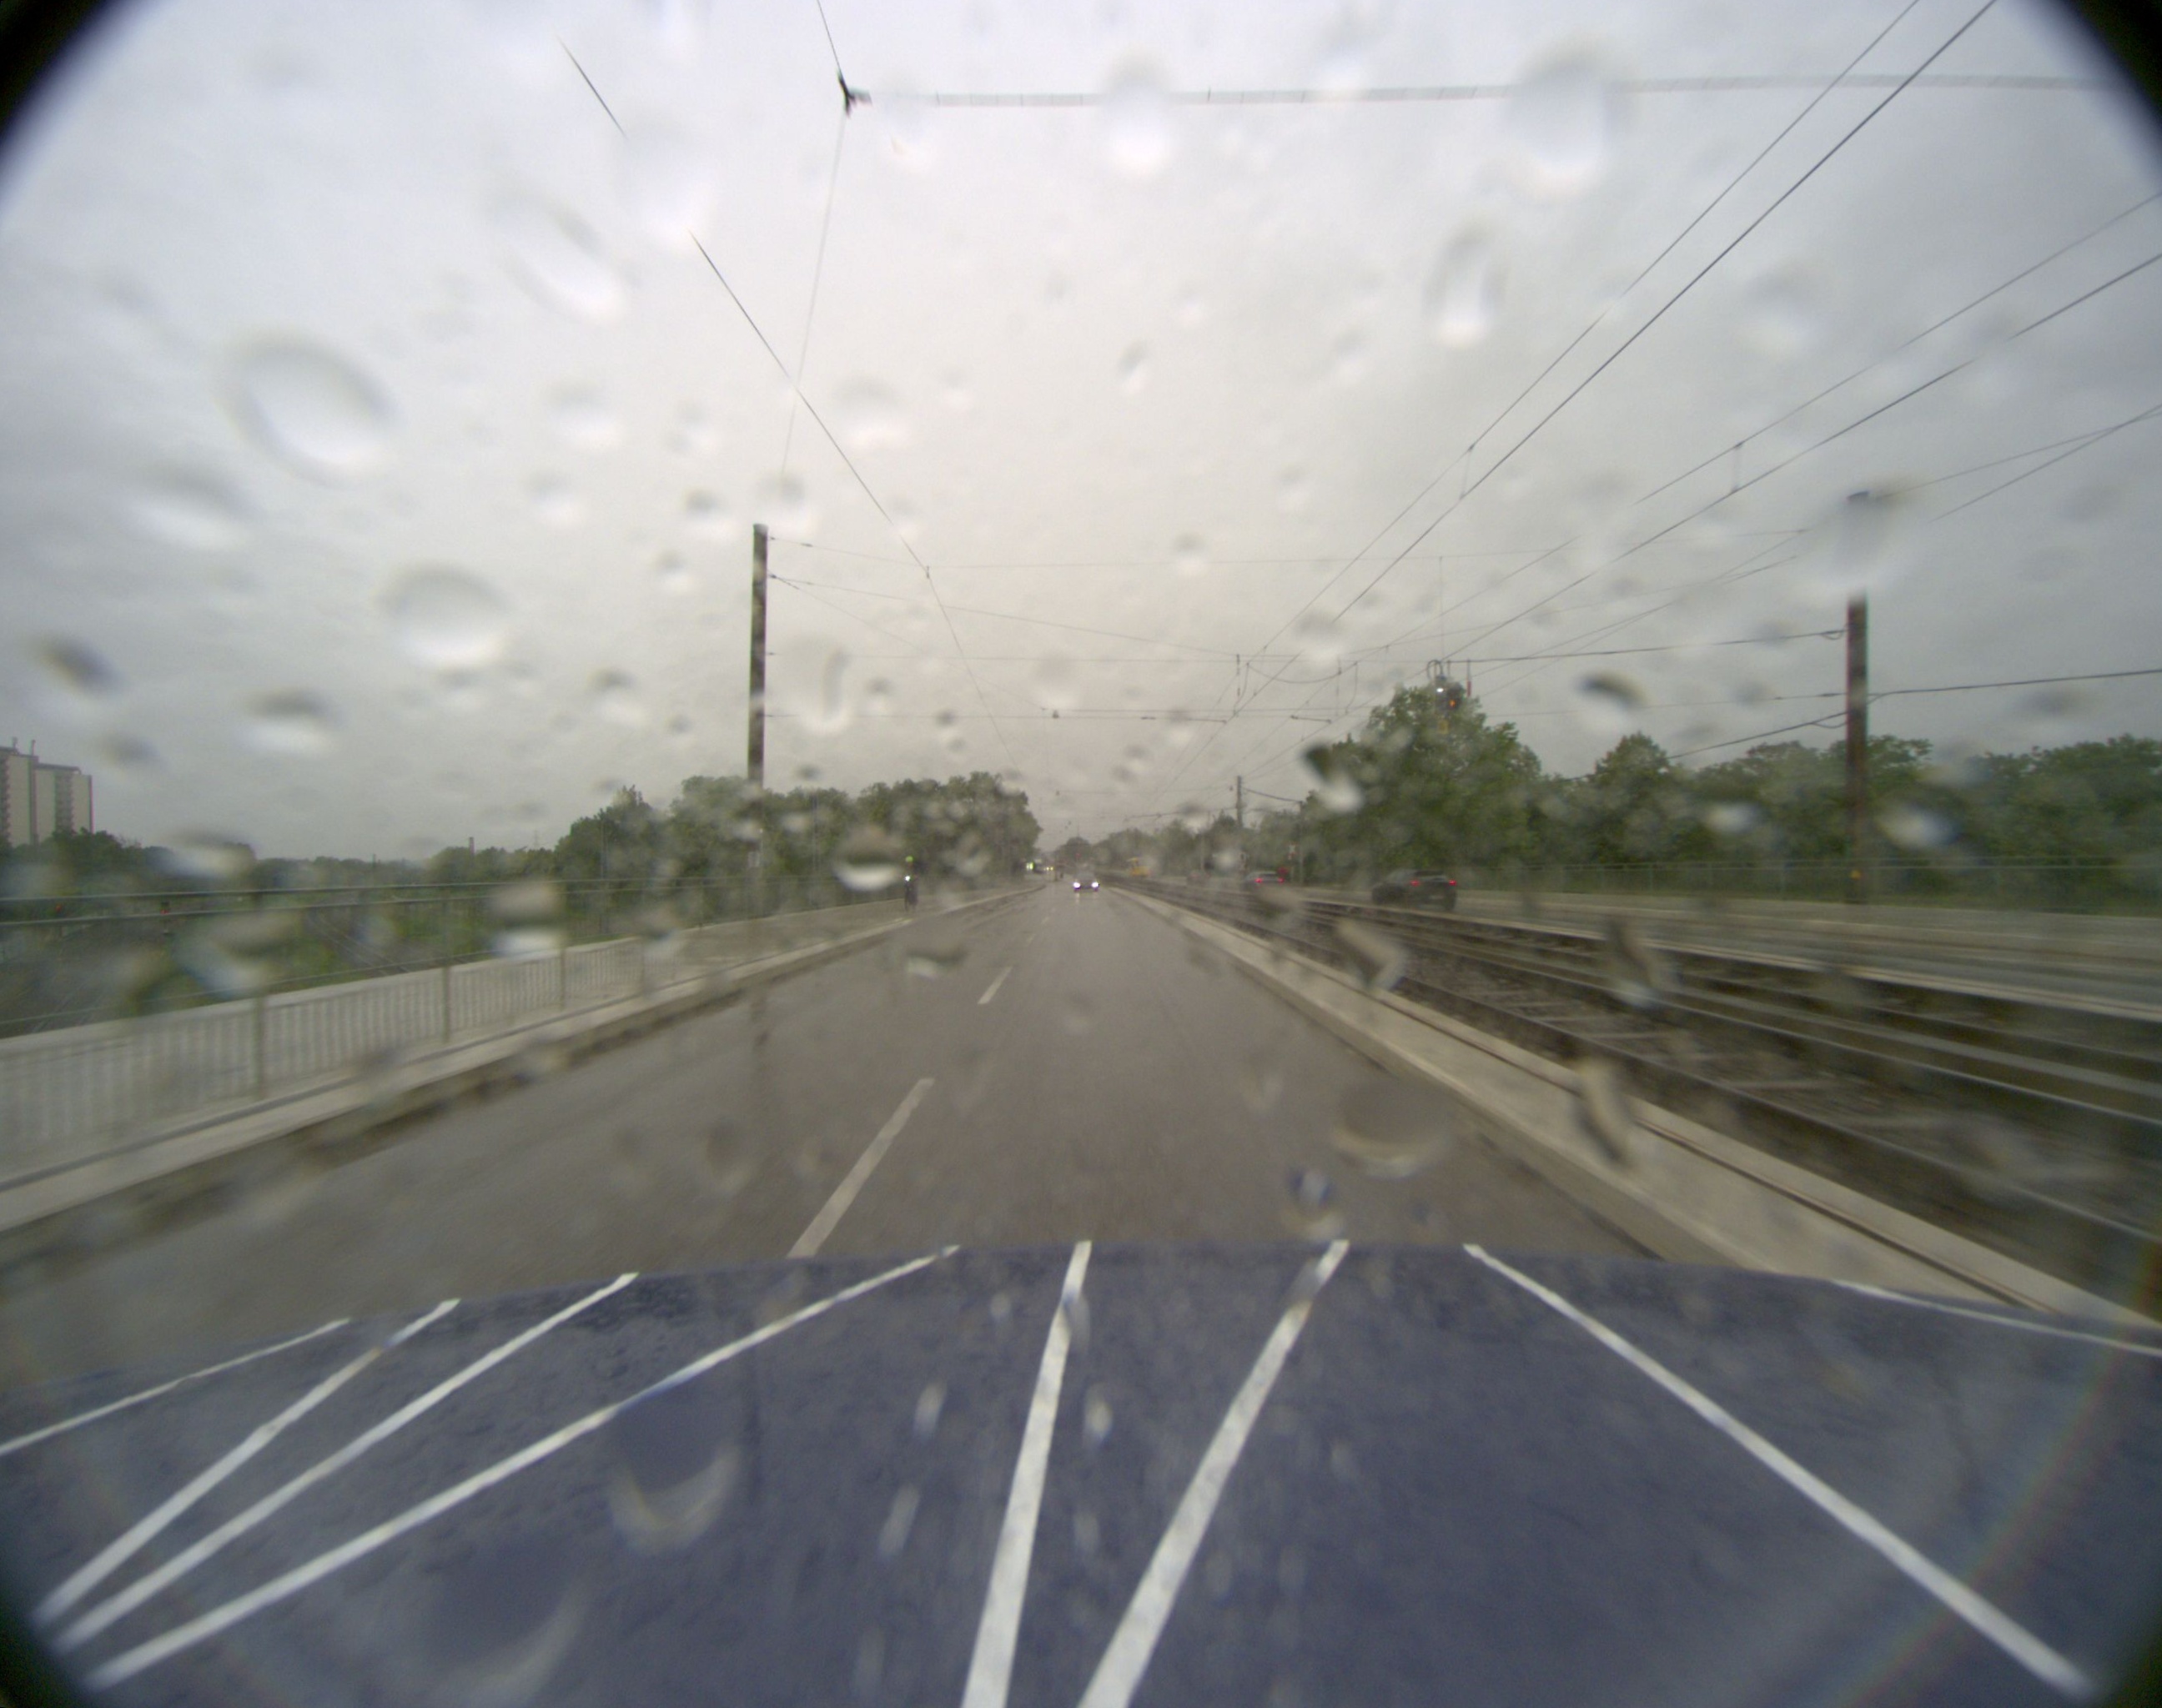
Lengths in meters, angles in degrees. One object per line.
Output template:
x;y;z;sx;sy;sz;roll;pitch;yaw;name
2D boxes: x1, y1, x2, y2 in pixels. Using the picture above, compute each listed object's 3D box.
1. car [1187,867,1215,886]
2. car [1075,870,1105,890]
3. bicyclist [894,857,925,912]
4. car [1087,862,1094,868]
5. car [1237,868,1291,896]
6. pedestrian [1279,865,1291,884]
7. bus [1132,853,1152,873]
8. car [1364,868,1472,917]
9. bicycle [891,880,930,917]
12.029;2.209;76.325;1.998;1.707;4.941;1;0;0;car
0.695;2.068;61.385;1.999;1.497;4.195;-2;-1;-4;car
-5.700;1.010;25.348;0.727;1.753;0.949;-2;1;0;bicyclist
3.291;3.805;259.751;1.999;2.032;5.026;-3;0;-4;car
11.577;1.731;48.438;1.999;1.500;5.112;1;0;-2;car
20.000;2.034;74.574;0.867;1.808;1.042;-2;1;-2;pedestrian
10.673;1.652;133.890;2.715;3.320;10.996;1;-2;0;bus
11.886;1.312;27.138;1.999;1.500;4.091;1;0;0;car
-5.664;1.461;25.362;0.725;1.122;2.168;-2;0;1;bicycle
